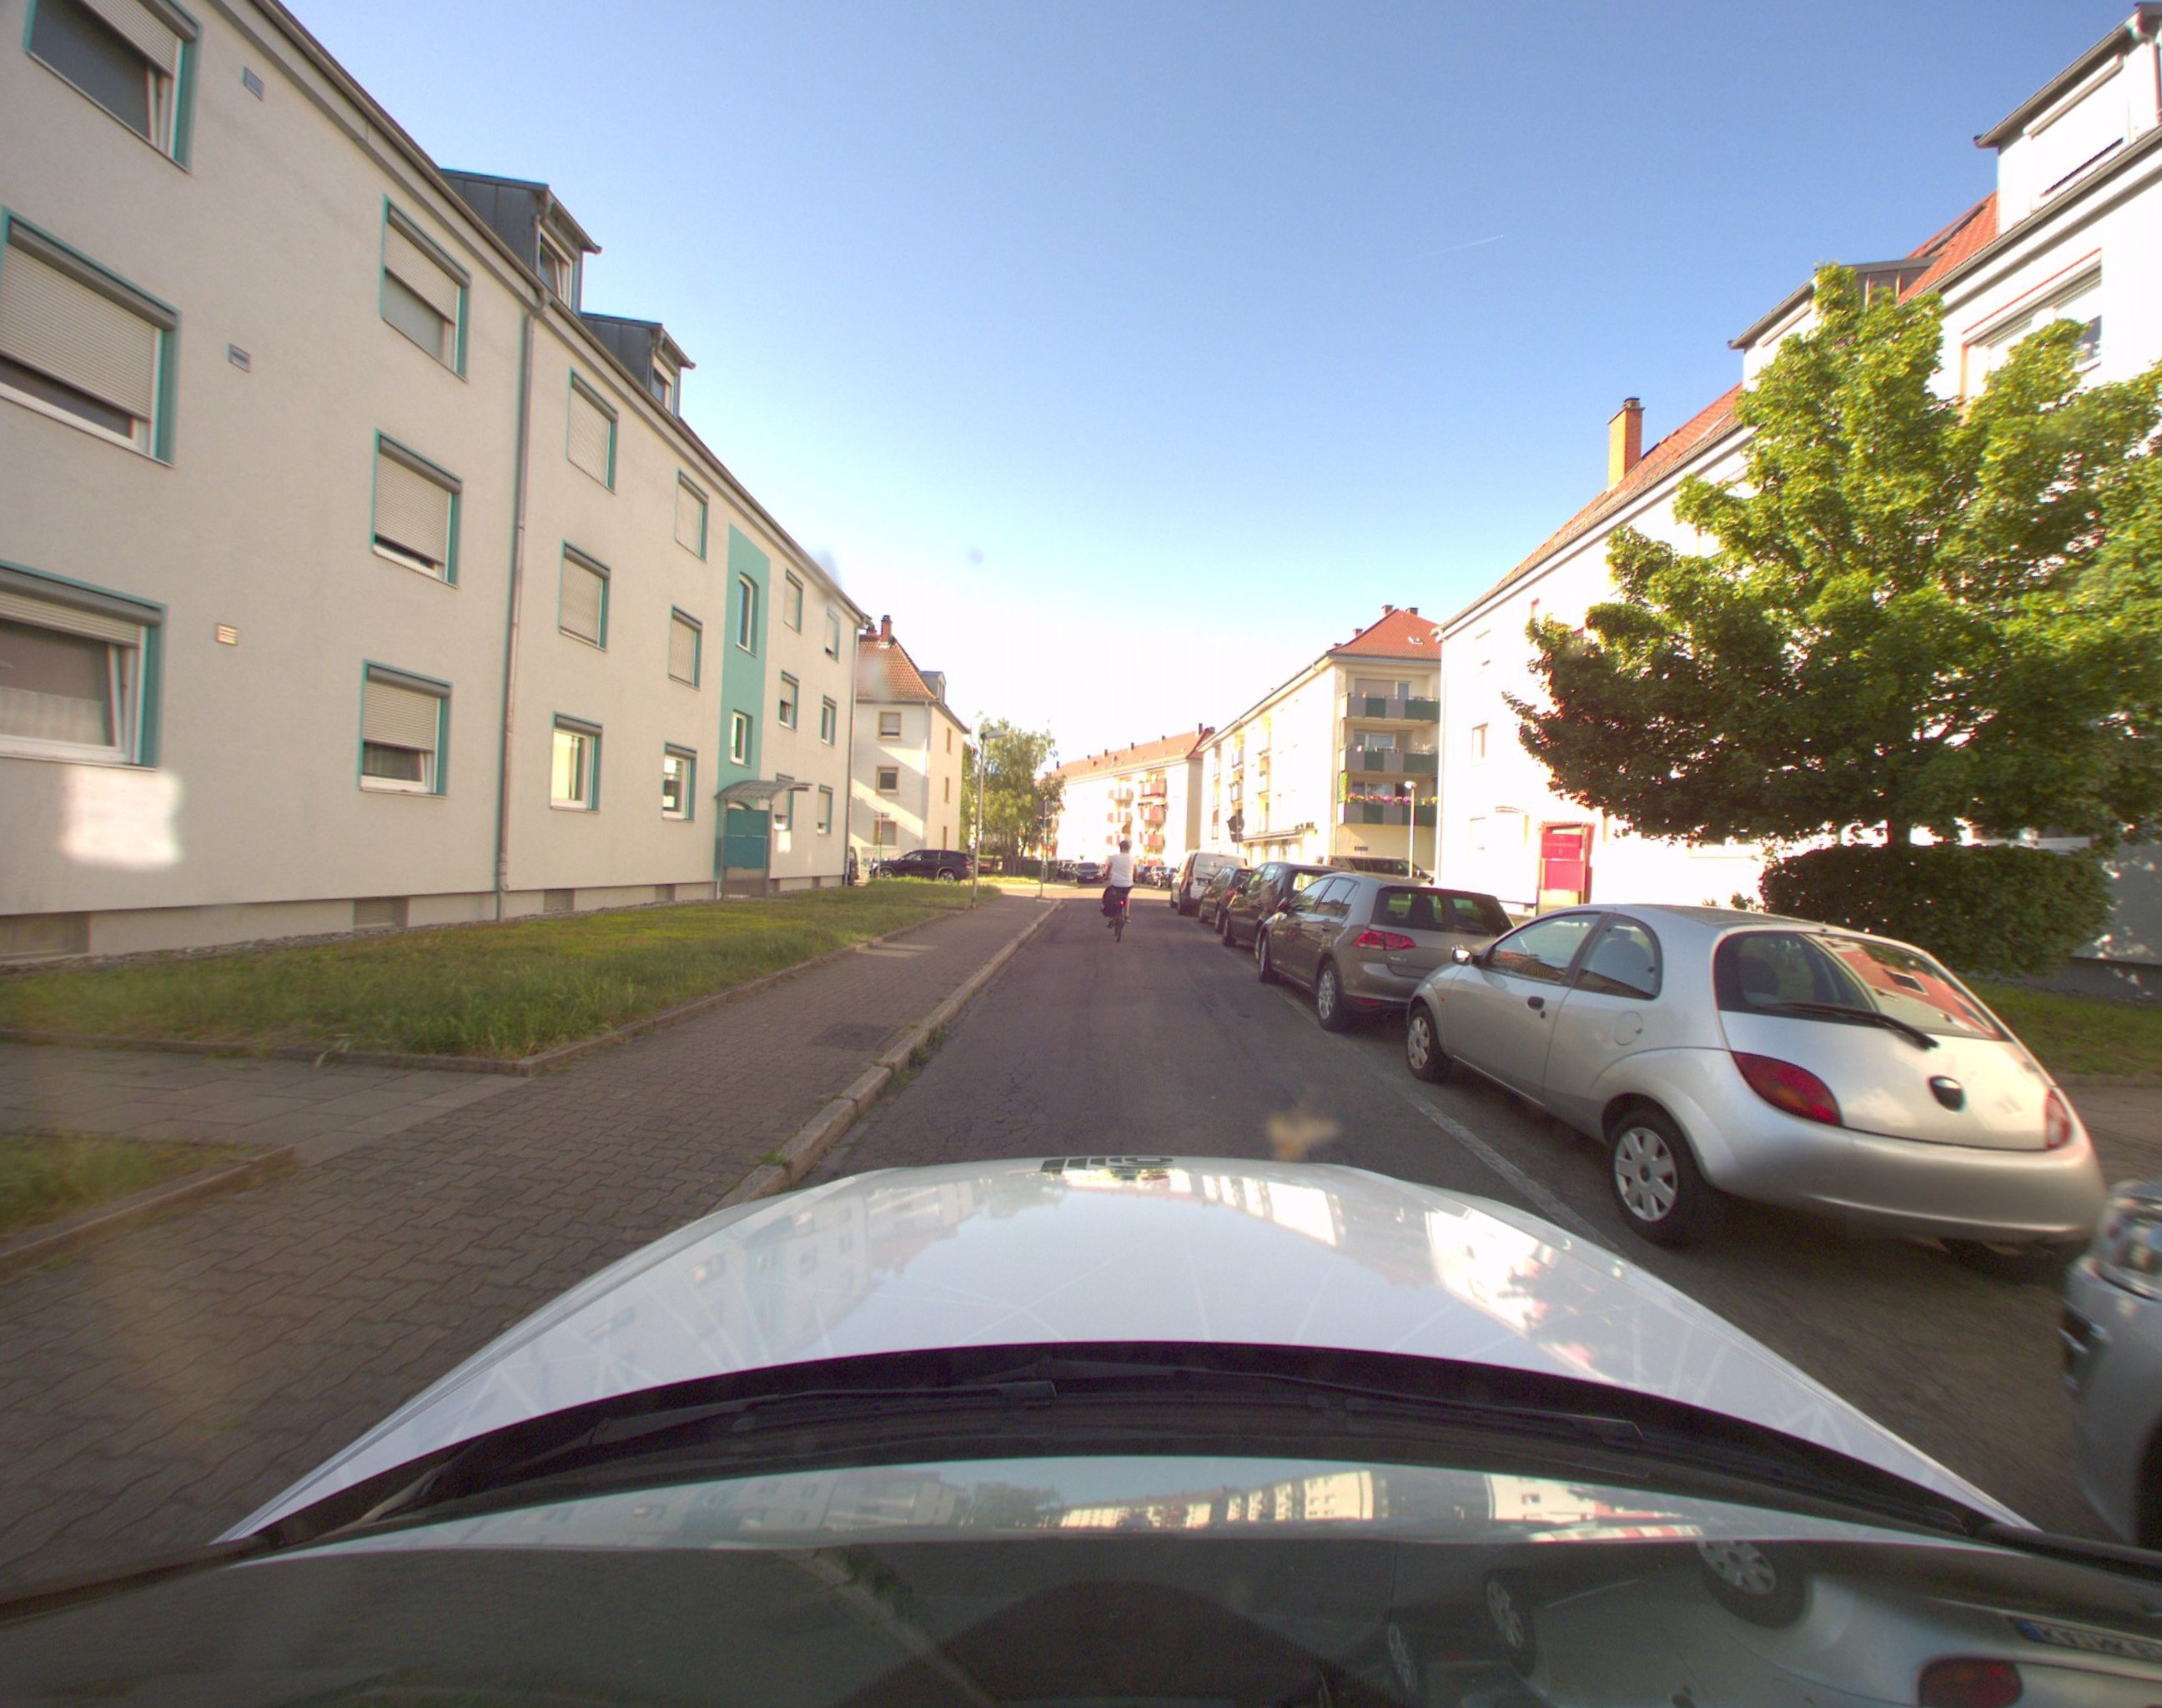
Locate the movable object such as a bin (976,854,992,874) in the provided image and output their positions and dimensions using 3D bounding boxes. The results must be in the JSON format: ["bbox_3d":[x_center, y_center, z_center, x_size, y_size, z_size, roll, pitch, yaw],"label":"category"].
[{"bbox_3d":[-6.949,0.732,58.258,1.057,1.435,1.002,0,-1,-1],"label":"movable object such as a bin"}]

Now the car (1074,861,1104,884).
[{"bbox_3d":[0.493,1.191,55.013,1.674,1.453,4.615,-1,-1,-3],"label":"car"}]

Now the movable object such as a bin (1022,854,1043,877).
[{"bbox_3d":[-3.152,0.746,53.087,1.214,1.380,0.768,2,-1,4],"label":"movable object such as a bin"}]

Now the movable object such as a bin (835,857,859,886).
[{"bbox_3d":[-8.435,0.622,29.417,0.611,0.992,0.715,2,0,0],"label":"movable object such as a bin"}]

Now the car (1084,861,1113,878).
[{"bbox_3d":[1.809,1.586,85.482,1.770,1.635,4.018,0,1,-17],"label":"car"}]

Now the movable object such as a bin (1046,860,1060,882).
[{"bbox_3d":[-1.804,1.103,52.623,0.773,1.393,1.417,2,-1,-1],"label":"movable object such as a bin"}]

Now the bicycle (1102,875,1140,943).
[{"bbox_3d":[0.719,0.982,15.076,0.625,1.115,1.816,1,0,1],"label":"bicycle"}]

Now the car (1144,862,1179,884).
[{"bbox_3d":[5.916,1.376,60.472,1.675,1.447,4.716,2,0,-5],"label":"car"}]

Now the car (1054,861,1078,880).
[{"bbox_3d":[-1.261,1.322,66.785,1.554,1.442,3.958,-1,-1,-7],"label":"car"}]

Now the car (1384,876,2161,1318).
[{"bbox_3d":[3.199,0.927,4.711,1.622,1.394,3.490,4,0,2],"label":"car"}]

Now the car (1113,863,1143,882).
[{"bbox_3d":[4.147,1.637,73.009,1.694,1.656,4.374,1,-1,-11],"label":"car"}]

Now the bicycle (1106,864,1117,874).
[{"bbox_3d":[3.529,1.752,94.724,0.619,0.978,1.883,-1,2,-20],"label":"bicycle"}]

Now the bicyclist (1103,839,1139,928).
[{"bbox_3d":[0.728,0.535,15.078,0.594,1.579,0.907,2,-1,1],"label":"bicyclist"}]

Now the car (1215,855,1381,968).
[{"bbox_3d":[3.406,0.830,13.460,1.613,1.550,3.607,3,0,-3],"label":"car"}]

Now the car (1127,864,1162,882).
[{"bbox_3d":[5.130,1.559,66.370,1.695,1.432,4.669,0,-1,-12],"label":"car"}]

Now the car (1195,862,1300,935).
[{"bbox_3d":[3.638,0.918,18.380,1.568,1.417,3.787,1,0,0],"label":"car"}]

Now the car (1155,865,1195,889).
[{"bbox_3d":[6.234,1.502,54.513,1.676,1.407,4.535,2,0,-6],"label":"car"}]

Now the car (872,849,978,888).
[{"bbox_3d":[-7.120,0.671,37.507,4.472,1.664,1.719,1,-2,1],"label":"car"}]

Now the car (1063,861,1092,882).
[{"bbox_3d":[-0.285,1.271,60.866,1.676,1.442,4.269,-1,-1,-7],"label":"car"}]

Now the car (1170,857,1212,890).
[{"bbox_3d":[6.519,1.145,48.680,1.743,1.824,4.127,-1,-1,-3],"label":"car"}]

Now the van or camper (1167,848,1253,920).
[{"bbox_3d":[3.588,0.798,23.475,1.785,1.747,4.737,4,0,2],"label":"van or camper"}]

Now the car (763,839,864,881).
[{"bbox_3d":[-12.279,0.299,37.551,3.976,1.789,1.719,1,-2,1],"label":"car"}]

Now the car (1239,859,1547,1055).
[{"bbox_3d":[2.990,0.875,8.759,1.624,1.450,3.949,4,1,-2],"label":"car"}]

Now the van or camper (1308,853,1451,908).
[{"bbox_3d":[12.196,1.046,33.549,5.104,2.013,2.001,2,1,2],"label":"van or camper"}]
